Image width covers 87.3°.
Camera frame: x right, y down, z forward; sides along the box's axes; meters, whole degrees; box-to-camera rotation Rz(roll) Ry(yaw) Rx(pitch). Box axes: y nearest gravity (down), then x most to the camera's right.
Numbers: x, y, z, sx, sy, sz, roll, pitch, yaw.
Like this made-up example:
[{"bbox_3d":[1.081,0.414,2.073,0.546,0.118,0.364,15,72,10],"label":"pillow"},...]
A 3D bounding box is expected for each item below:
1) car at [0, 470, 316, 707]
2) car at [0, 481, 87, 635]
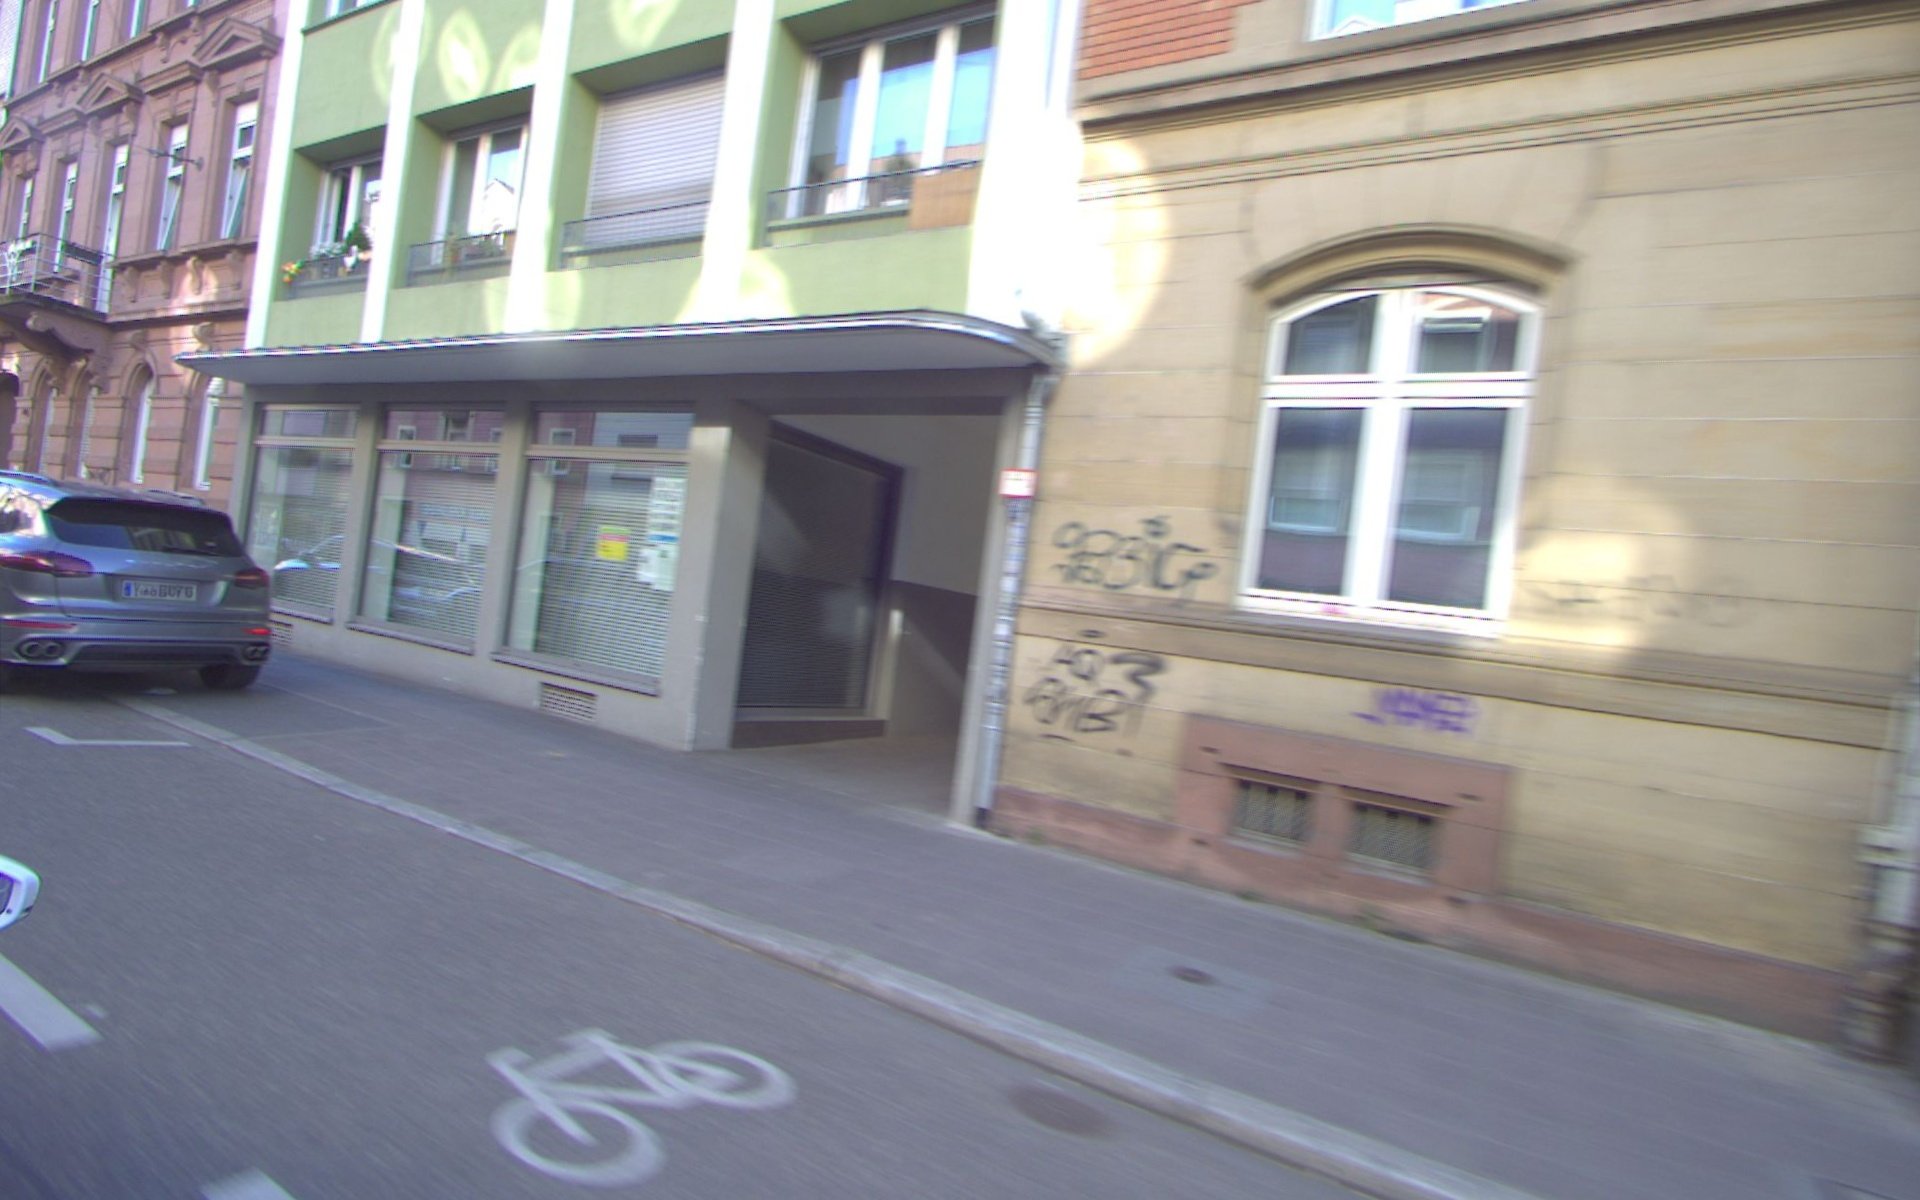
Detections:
[{"bbox_3d":[-8.090,-0.247,9.015,4.706,1.637,1.994,6,1,31],"label":"car"},{"bbox_3d":[-12.734,-0.727,12.041,4.324,1.665,1.871,6,-2,28],"label":"car"}]
